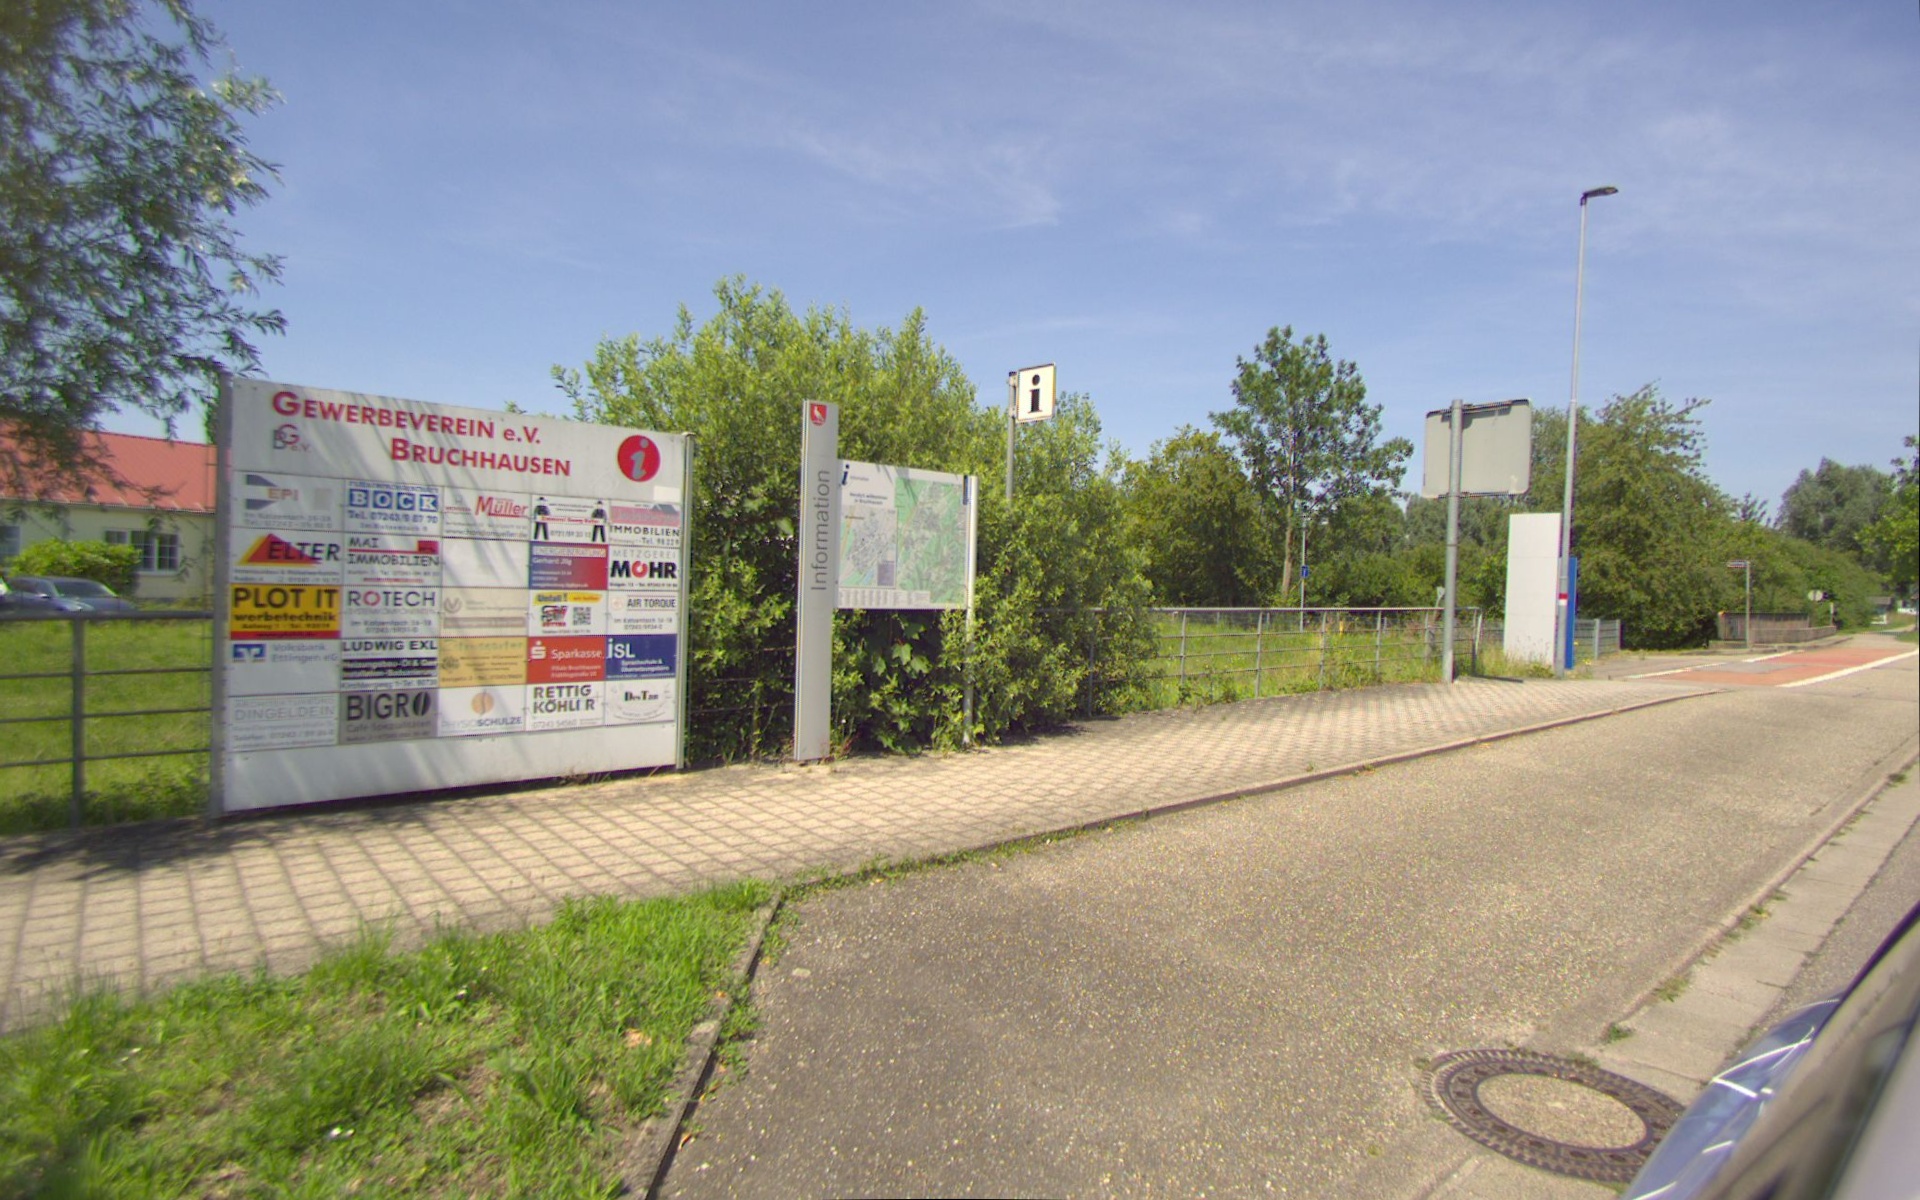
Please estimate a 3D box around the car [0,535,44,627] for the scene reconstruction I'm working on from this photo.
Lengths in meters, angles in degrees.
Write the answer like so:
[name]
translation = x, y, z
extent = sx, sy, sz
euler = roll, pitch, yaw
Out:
[car]
translation = -25.843, -0.484, 25.358
extent = 5.120, 2.229, 2.201
euler = 0, 0, 20
